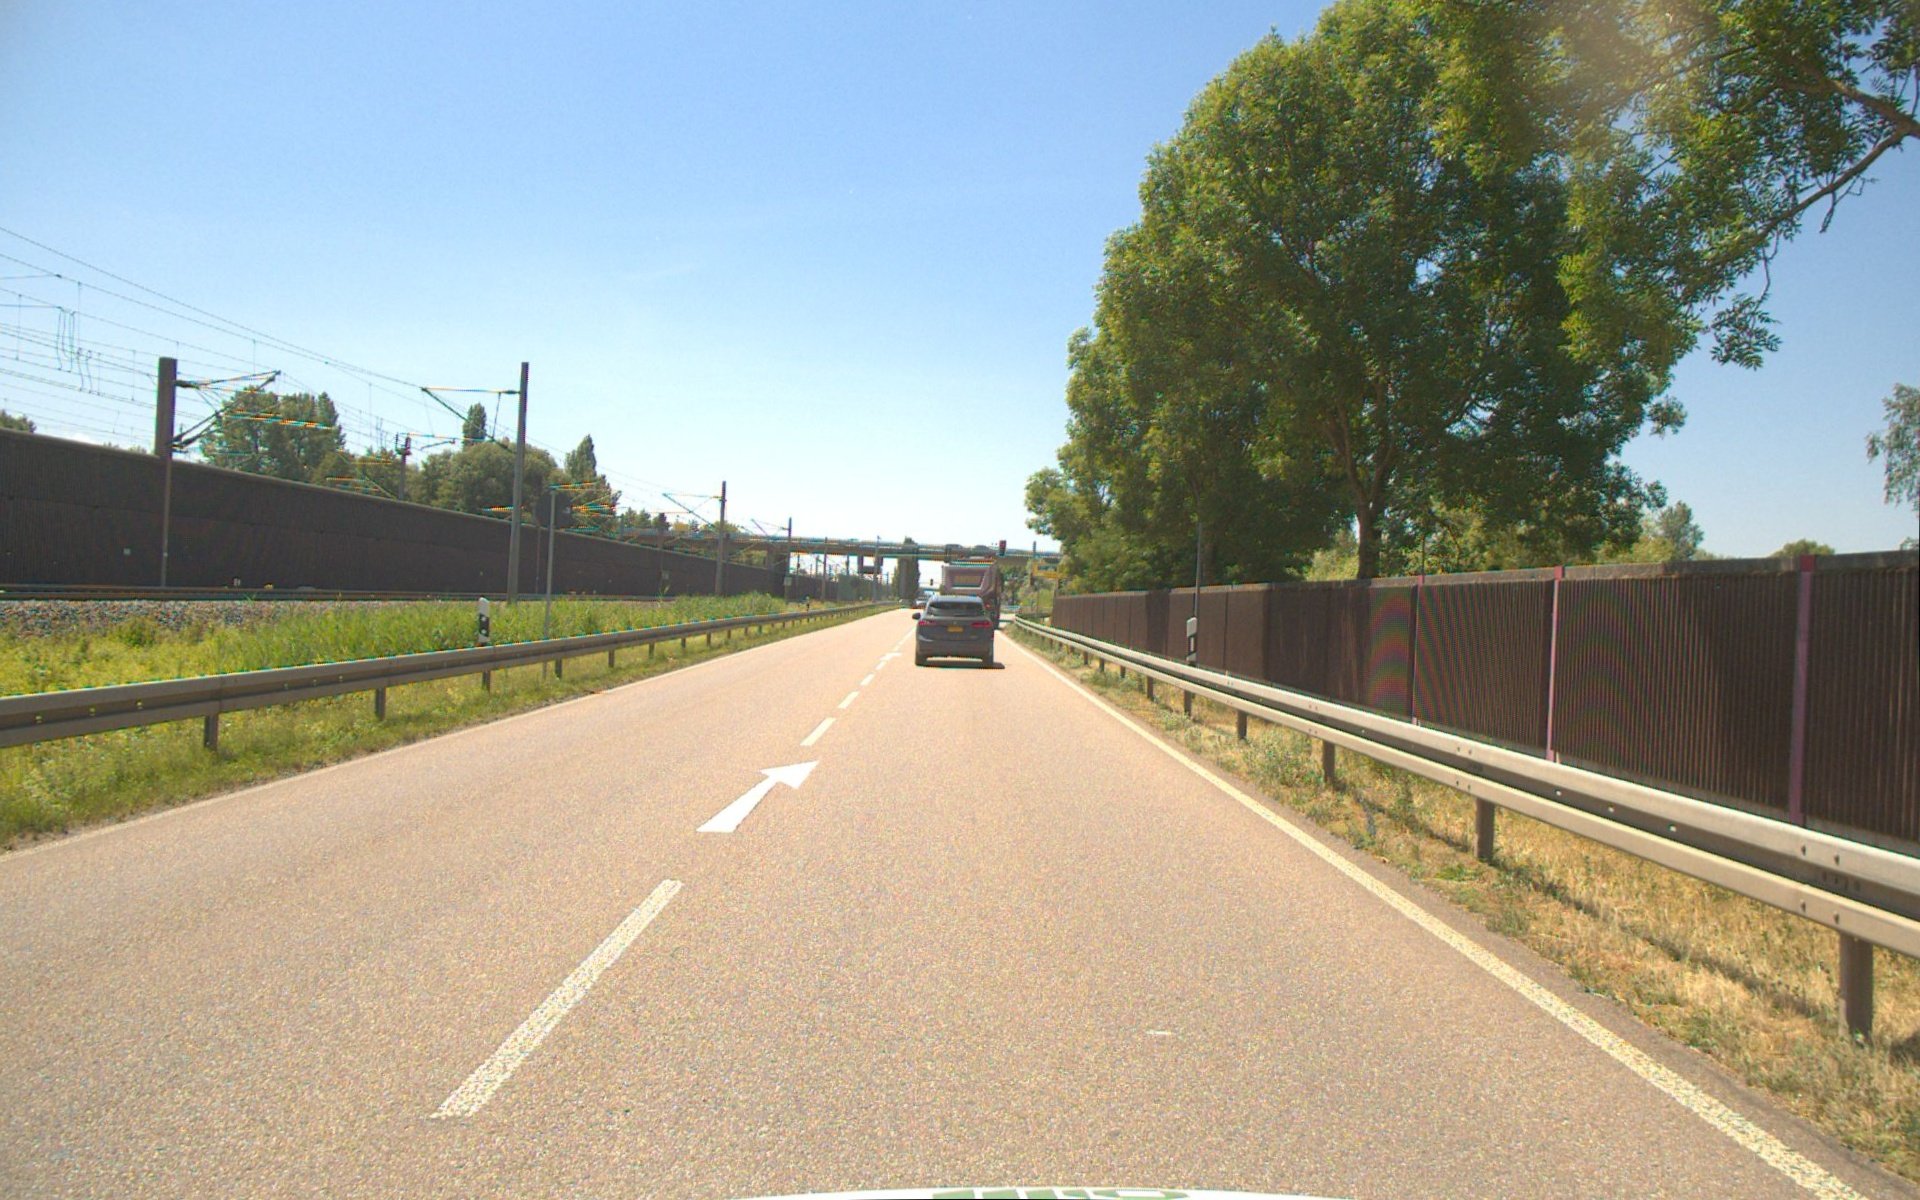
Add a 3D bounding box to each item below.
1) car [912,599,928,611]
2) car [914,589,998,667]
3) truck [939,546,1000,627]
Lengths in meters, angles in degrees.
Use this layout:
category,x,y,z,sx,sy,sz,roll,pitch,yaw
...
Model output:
category,x,y,z,sx,sy,sz,roll,pitch,yaw
car,-5.282,0.588,217.214,1.828,1.511,4.884,2,0,-4
car,-0.068,0.614,38.283,1.807,1.651,4.226,2,0,1
truck,0.608,-0.647,87.033,2.774,3.888,11.888,2,0,2
